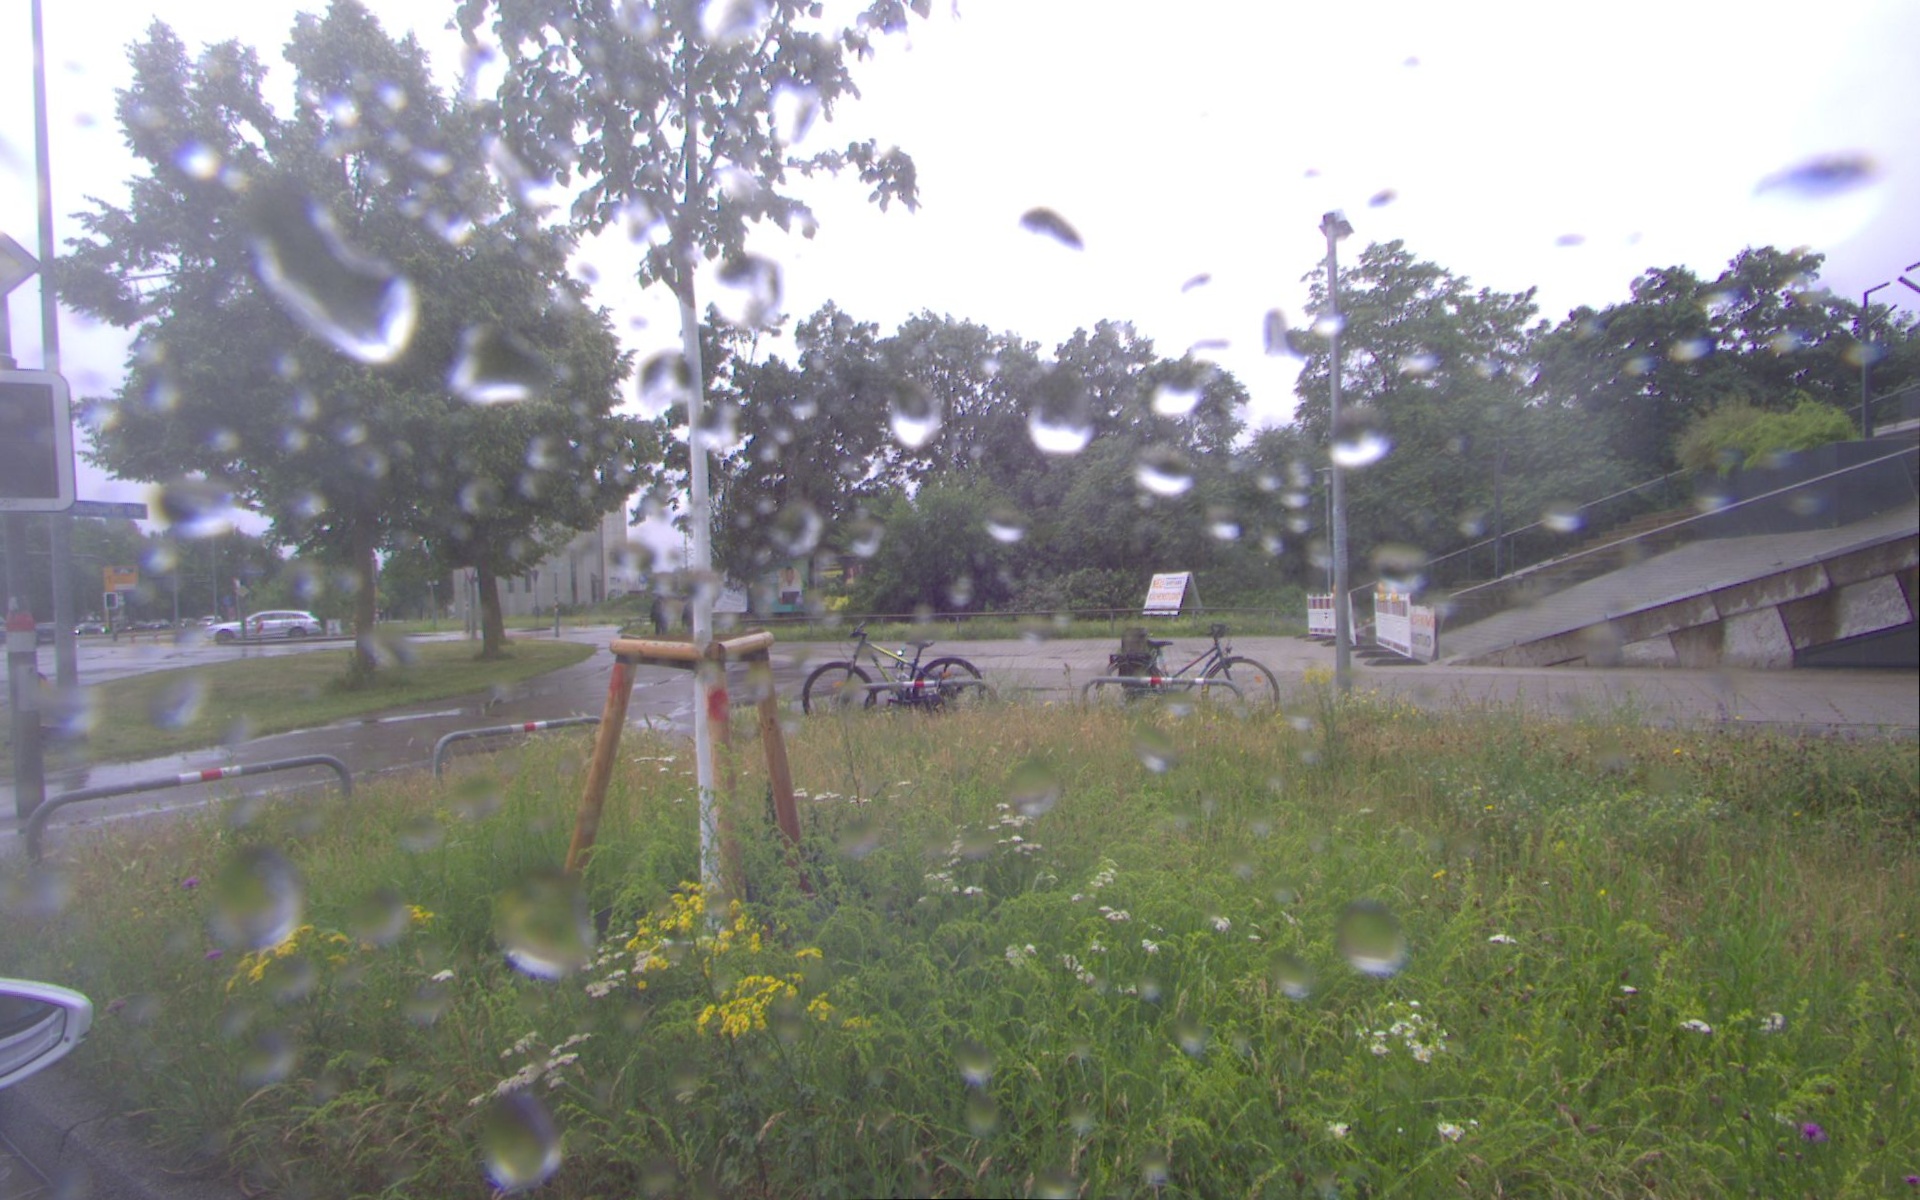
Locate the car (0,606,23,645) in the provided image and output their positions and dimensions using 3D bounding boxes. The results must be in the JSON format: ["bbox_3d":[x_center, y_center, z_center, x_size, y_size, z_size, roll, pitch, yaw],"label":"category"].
[{"bbox_3d":[-42.657,1.087,42.384,3.933,1.668,1.785,1,-2,-21],"label":"car"}]

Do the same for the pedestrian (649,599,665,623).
[{"bbox_3d":[-22.656,0.848,74.817,0.705,1.794,0.948,-1,-2,42],"label":"pedestrian"}]

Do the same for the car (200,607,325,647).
[{"bbox_3d":[-33.280,1.321,47.857,4.786,1.833,1.774,2,-2,-41],"label":"car"}]

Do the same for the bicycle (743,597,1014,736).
[{"bbox_3d":[-0.755,0.587,9.435,2.480,1.205,0.552,-1,1,-17],"label":"bicycle"}]

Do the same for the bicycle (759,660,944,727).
[{"bbox_3d":[-1.048,0.898,9.786,1.771,0.566,0.320,-1,1,-17],"label":"bicycle"}]

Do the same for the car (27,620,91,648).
[{"bbox_3d":[-52.922,1.970,58.883,1.666,1.512,3.242,-1,0,-21],"label":"car"}]

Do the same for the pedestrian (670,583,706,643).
[{"bbox_3d":[-8.329,0.412,30.684,0.906,1.807,0.808,0,-1,-3],"label":"pedestrian"}]

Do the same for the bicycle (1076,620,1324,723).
[{"bbox_3d":[2.179,0.618,9.223,2.131,0.858,0.633,-1,0,30],"label":"bicycle"}]

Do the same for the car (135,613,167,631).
[{"bbox_3d":[-95.186,2.562,117.870,1.763,2.039,3.665,0,-2,-20],"label":"car"}]

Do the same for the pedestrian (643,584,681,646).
[{"bbox_3d":[-8.738,0.450,29.392,0.906,1.807,0.808,0,-1,-3],"label":"pedestrian"}]
